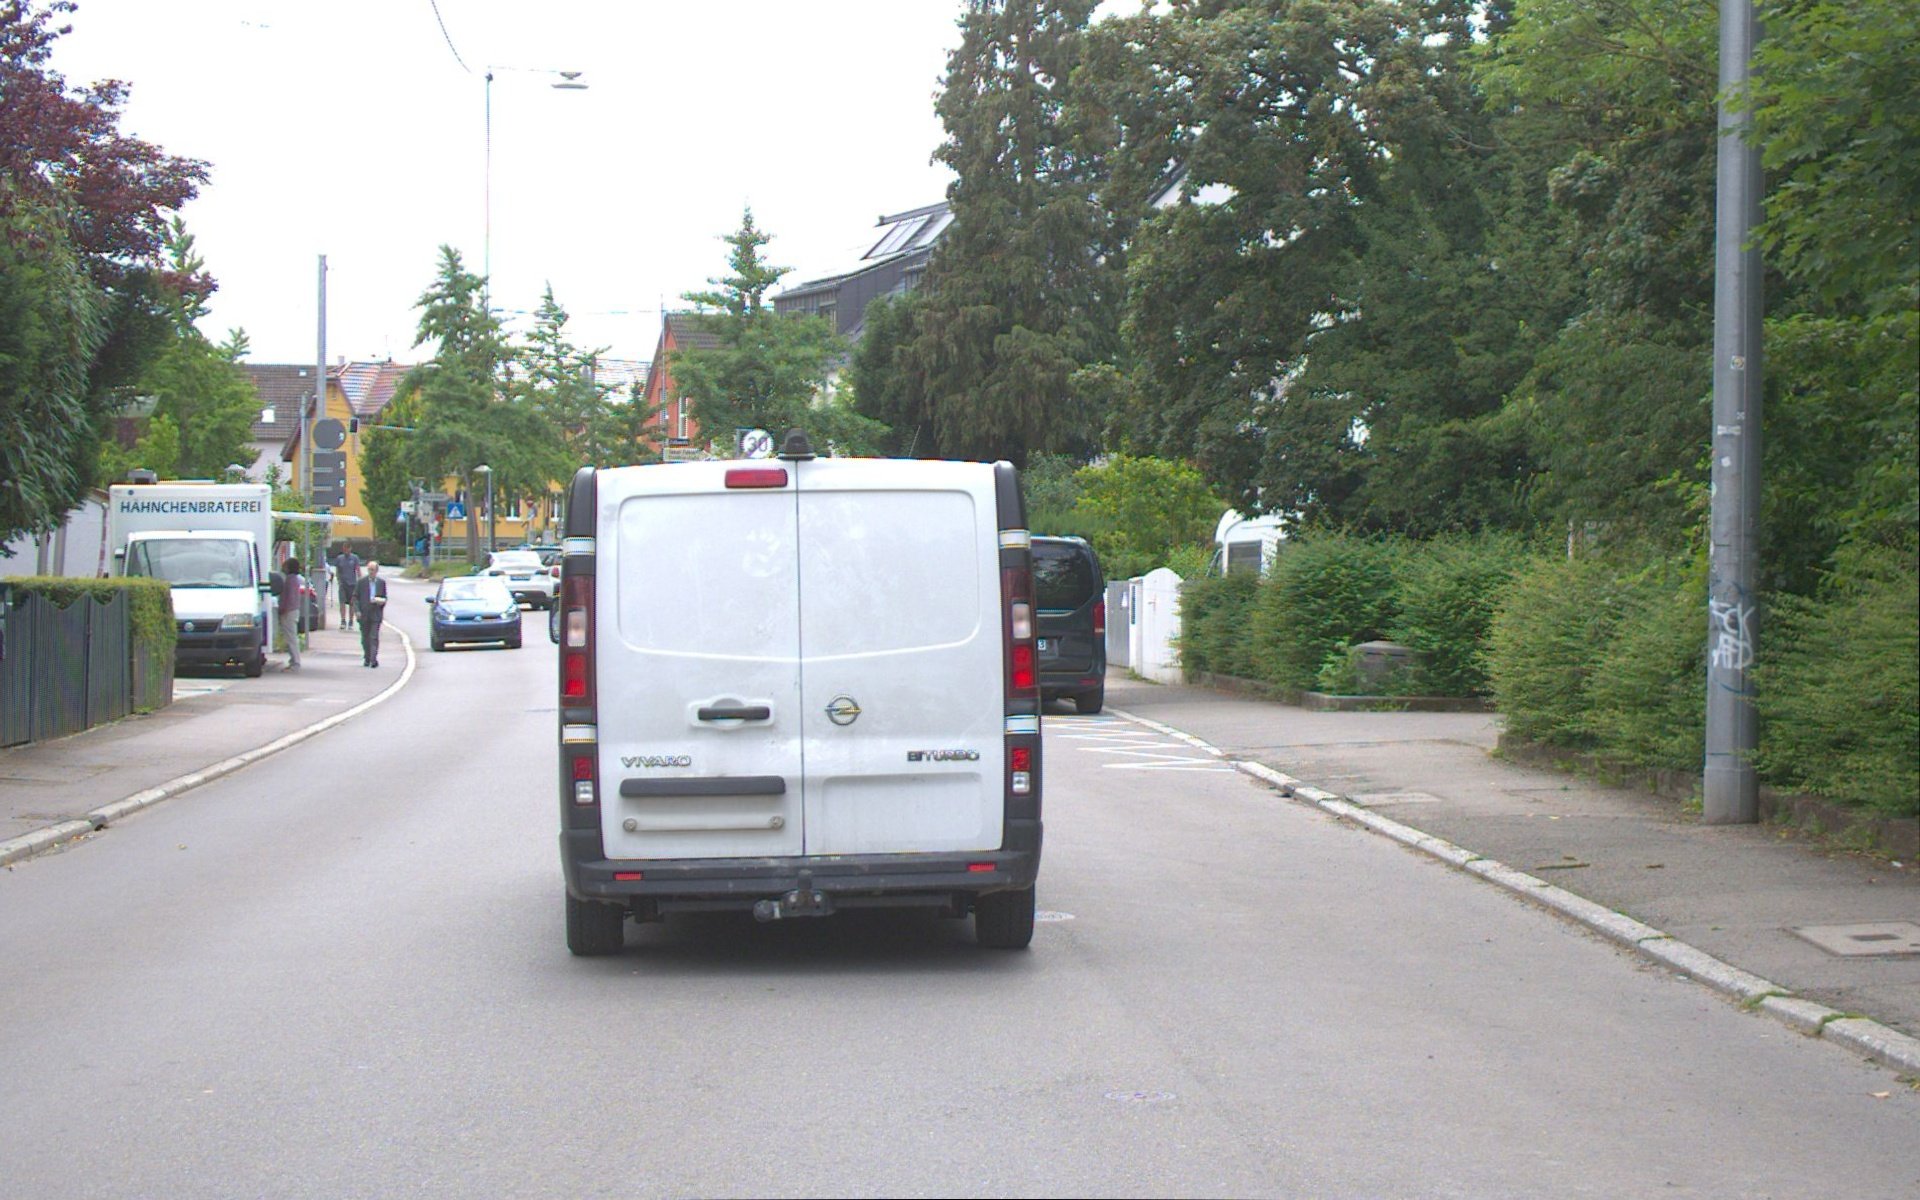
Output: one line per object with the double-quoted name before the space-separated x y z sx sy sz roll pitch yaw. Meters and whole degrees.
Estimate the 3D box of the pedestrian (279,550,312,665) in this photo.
"pedestrian" -9.873 0.109 51.083 0.401 1.689 0.597 2 0 -11

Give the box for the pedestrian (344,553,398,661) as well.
"pedestrian" -9.479 0.108 55.338 0.722 1.681 1.109 2 0 -6

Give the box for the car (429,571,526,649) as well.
"car" -9.647 0.190 68.957 1.693 1.427 3.928 3 0 -6

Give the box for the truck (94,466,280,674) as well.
"truck" -11.267 -0.438 50.493 2.472 2.831 6.709 0 0 -11

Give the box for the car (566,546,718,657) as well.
"car" -5.554 0.002 59.677 1.993 1.842 4.001 -1 1 -14

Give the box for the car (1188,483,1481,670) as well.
"car" 5.707 -0.370 53.205 2.496 2.673 5.188 2 0 -18

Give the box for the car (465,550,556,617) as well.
"car" -12.361 -0.476 94.362 1.993 1.776 4.001 -1 1 -14

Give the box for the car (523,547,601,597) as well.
"car" -12.607 -0.907 108.853 1.741 1.489 3.656 2 0 -17

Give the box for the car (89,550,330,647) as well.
"car" -14.562 -0.027 66.693 4.310 1.690 1.798 2 0 -21

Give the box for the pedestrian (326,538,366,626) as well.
"pedestrian" -13.853 -0.401 77.552 0.733 1.939 1.218 2 0 -6

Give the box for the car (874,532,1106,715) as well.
"car" 0.243 0.226 37.483 1.908 1.842 5.159 1 0 -6

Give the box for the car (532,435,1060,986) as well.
"car" -0.805 0.387 14.787 1.915 1.996 4.438 0 0 -5
